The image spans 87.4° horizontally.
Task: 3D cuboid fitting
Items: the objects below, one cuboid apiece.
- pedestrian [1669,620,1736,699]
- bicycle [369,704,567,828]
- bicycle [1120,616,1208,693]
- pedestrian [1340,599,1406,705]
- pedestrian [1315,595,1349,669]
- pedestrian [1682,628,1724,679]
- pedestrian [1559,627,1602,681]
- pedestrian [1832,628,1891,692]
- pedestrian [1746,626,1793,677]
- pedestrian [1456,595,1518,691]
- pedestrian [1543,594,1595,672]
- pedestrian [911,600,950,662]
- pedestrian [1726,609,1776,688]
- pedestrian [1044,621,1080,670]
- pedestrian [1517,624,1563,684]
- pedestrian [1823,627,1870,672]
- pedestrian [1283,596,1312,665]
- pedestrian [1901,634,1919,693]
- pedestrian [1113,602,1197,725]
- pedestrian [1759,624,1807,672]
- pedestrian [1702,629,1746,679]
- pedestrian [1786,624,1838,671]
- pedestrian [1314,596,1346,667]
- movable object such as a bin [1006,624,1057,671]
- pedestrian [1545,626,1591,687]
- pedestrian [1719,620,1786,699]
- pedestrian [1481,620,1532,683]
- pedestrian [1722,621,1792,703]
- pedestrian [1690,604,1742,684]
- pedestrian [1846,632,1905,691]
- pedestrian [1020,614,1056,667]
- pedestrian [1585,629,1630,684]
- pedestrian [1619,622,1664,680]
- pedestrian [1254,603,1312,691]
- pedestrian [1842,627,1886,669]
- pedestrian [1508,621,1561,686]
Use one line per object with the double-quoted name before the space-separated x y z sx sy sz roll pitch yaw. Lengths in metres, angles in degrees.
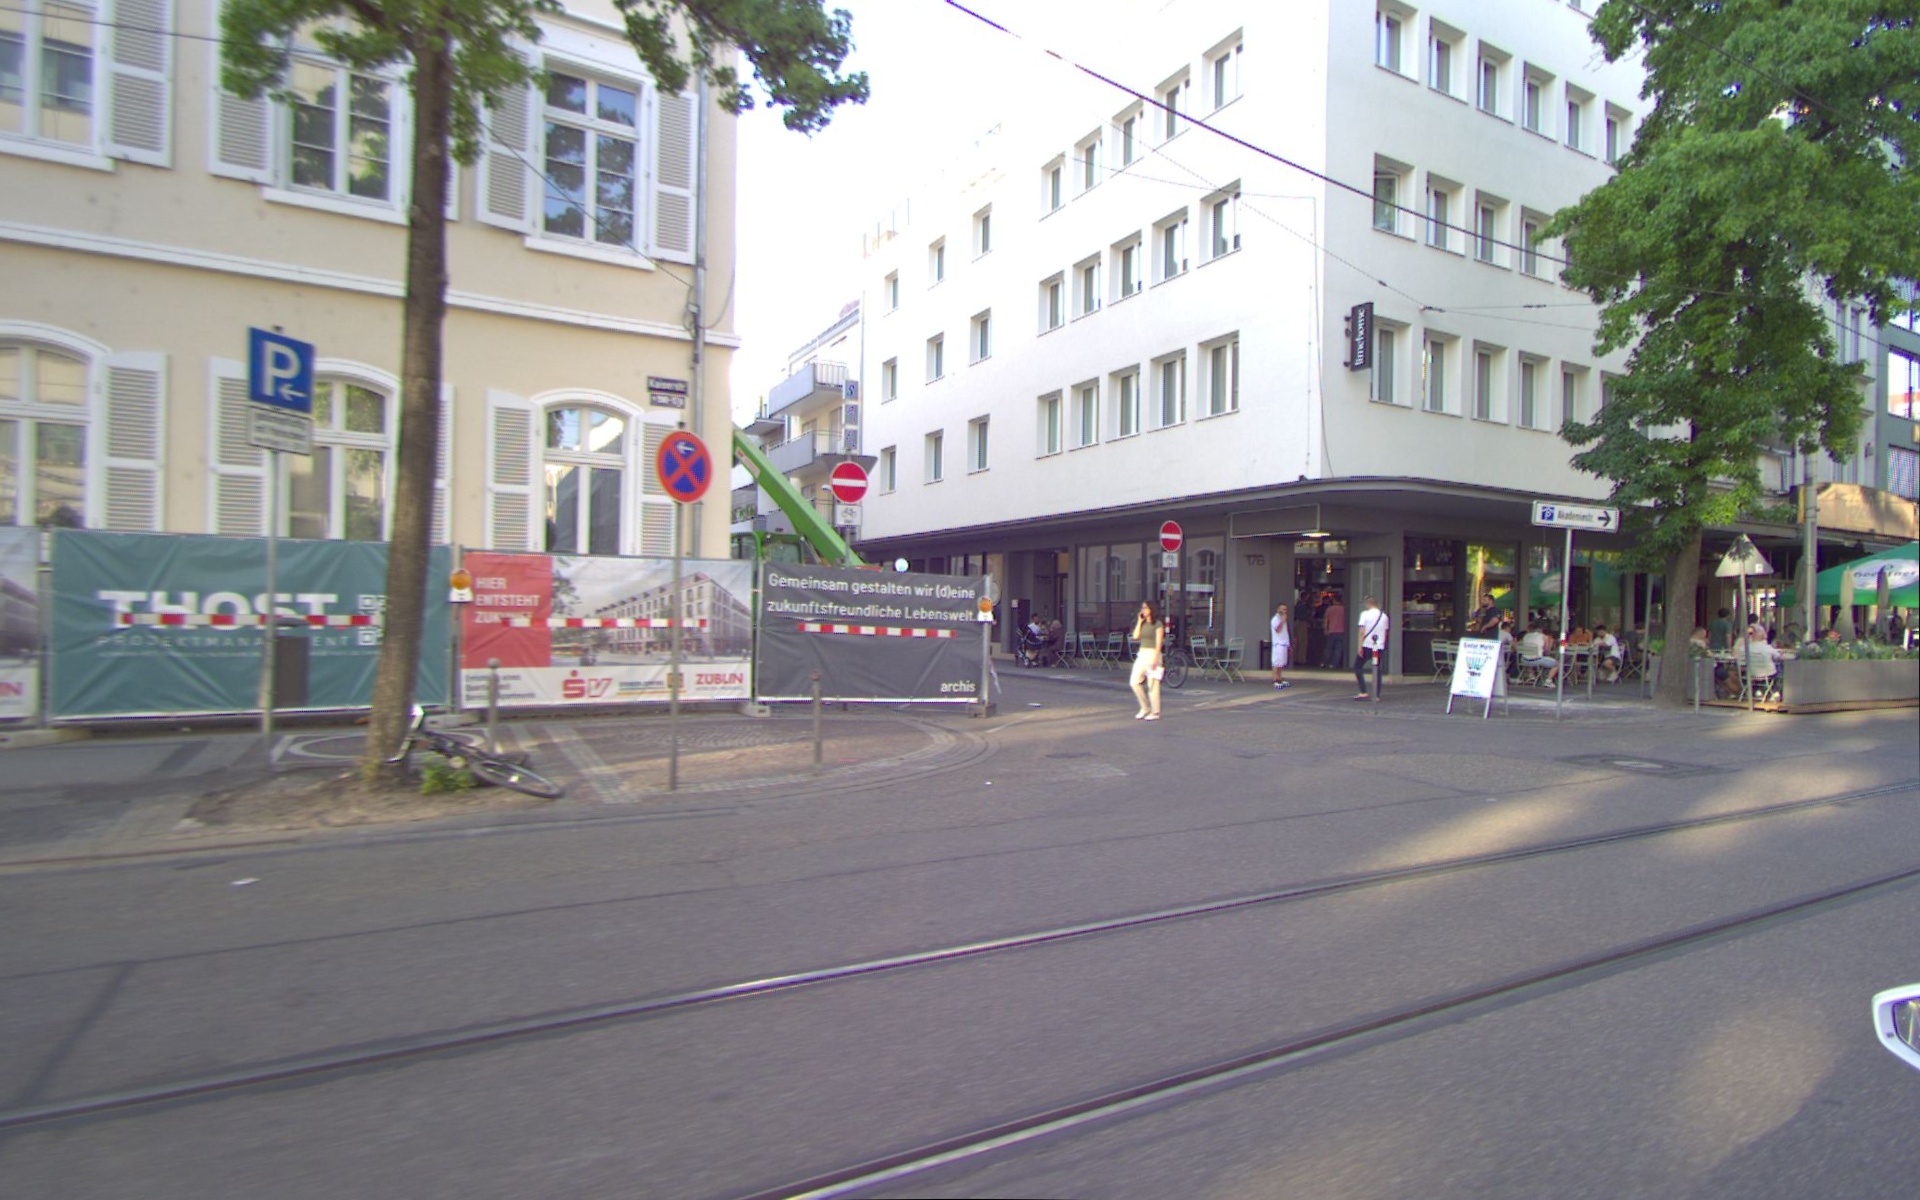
"pedestrian" 13.739 1.085 18.589 0.797 1.405 0.686 1 1 -28
"bicycle" -3.881 1.259 8.013 1.265 0.617 1.789 1 1 -26
"bicycle" 4.024 1.039 19.954 0.703 1.399 1.867 -2 1 -27
"pedestrian" 7.070 0.873 17.224 0.848 1.764 0.798 0 0 4
"pedestrian" 8.324 0.712 22.508 0.608 1.625 0.405 1 0 5
"pedestrian" 18.068 1.291 24.432 0.678 1.177 0.550 1 1 -29
"pedestrian" 14.150 1.214 22.902 0.678 1.177 0.550 1 1 -29
"pedestrian" 19.981 1.317 22.261 0.771 1.365 0.705 1 1 -27
"pedestrian" 20.710 1.311 25.712 0.789 1.259 0.666 1 1 -30
"pedestrian" 10.342 0.836 19.723 0.751 1.840 0.685 1 1 -14
"pedestrian" 14.530 0.786 23.968 0.746 1.816 0.685 1 1 -14
"pedestrian" -0.918 0.944 30.766 0.920 1.879 0.812 1 0 -26
"pedestrian" 17.673 1.073 22.452 0.689 1.693 0.616 1 1 -30
"pedestrian" 2.613 1.161 25.787 0.611 1.218 0.687 -1 0 -31
"pedestrian" 12.537 1.152 21.720 0.678 1.252 0.550 1 1 -29
"pedestrian" 25.498 1.408 28.892 0.778 1.230 0.733 1 3 -30
"pedestrian" 8.093 0.722 24.084 0.492 1.625 0.619 1 0 35
"pedestrian" 21.389 1.402 22.140 0.762 1.276 0.705 1 1 -27
"pedestrian" 2.775 0.876 14.313 0.955 1.678 0.704 0 0 -28
"pedestrian" 22.486 1.295 27.457 0.778 1.248 0.733 1 3 -30
"pedestrian" 18.924 1.321 24.876 0.678 1.190 0.599 1 1 -29
"pedestrian" 23.719 1.314 27.980 0.934 1.254 0.773 1 3 -30
"pedestrian" 8.628 0.729 23.435 0.608 1.625 0.405 1 0 5
"movable object such as a bin" 1.831 1.214 25.850 0.846 1.129 1.109 -1 1 -31
"pedestrian" 12.898 1.189 21.312 0.678 1.252 0.550 1 1 -29
"pedestrian" 14.809 1.104 18.771 0.797 1.405 0.686 1 1 -28
"pedestrian" 11.705 1.089 21.514 0.729 1.286 0.642 1 1 -29
"pedestrian" 14.221 1.088 17.929 0.797 1.405 0.686 1 1 -28
"pedestrian" 17.245 0.993 22.917 0.688 1.780 0.675 1 1 -28
"pedestrian" 21.038 1.398 23.092 0.857 1.276 0.705 1 1 -27
"pedestrian" 2.070 1.065 26.737 0.611 1.353 0.768 -1 1 -31
"pedestrian" 14.385 1.253 22.329 0.678 1.177 0.550 1 1 -29
"pedestrian" 16.102 1.194 23.732 0.678 1.316 0.599 1 1 -29
"pedestrian" 6.303 0.897 19.577 0.787 1.636 0.860 1 2 44
"pedestrian" 26.557 1.403 29.519 0.778 1.184 0.696 1 3 -30
"pedestrian" 11.952 1.105 20.897 0.719 1.299 0.624 1 1 -29
